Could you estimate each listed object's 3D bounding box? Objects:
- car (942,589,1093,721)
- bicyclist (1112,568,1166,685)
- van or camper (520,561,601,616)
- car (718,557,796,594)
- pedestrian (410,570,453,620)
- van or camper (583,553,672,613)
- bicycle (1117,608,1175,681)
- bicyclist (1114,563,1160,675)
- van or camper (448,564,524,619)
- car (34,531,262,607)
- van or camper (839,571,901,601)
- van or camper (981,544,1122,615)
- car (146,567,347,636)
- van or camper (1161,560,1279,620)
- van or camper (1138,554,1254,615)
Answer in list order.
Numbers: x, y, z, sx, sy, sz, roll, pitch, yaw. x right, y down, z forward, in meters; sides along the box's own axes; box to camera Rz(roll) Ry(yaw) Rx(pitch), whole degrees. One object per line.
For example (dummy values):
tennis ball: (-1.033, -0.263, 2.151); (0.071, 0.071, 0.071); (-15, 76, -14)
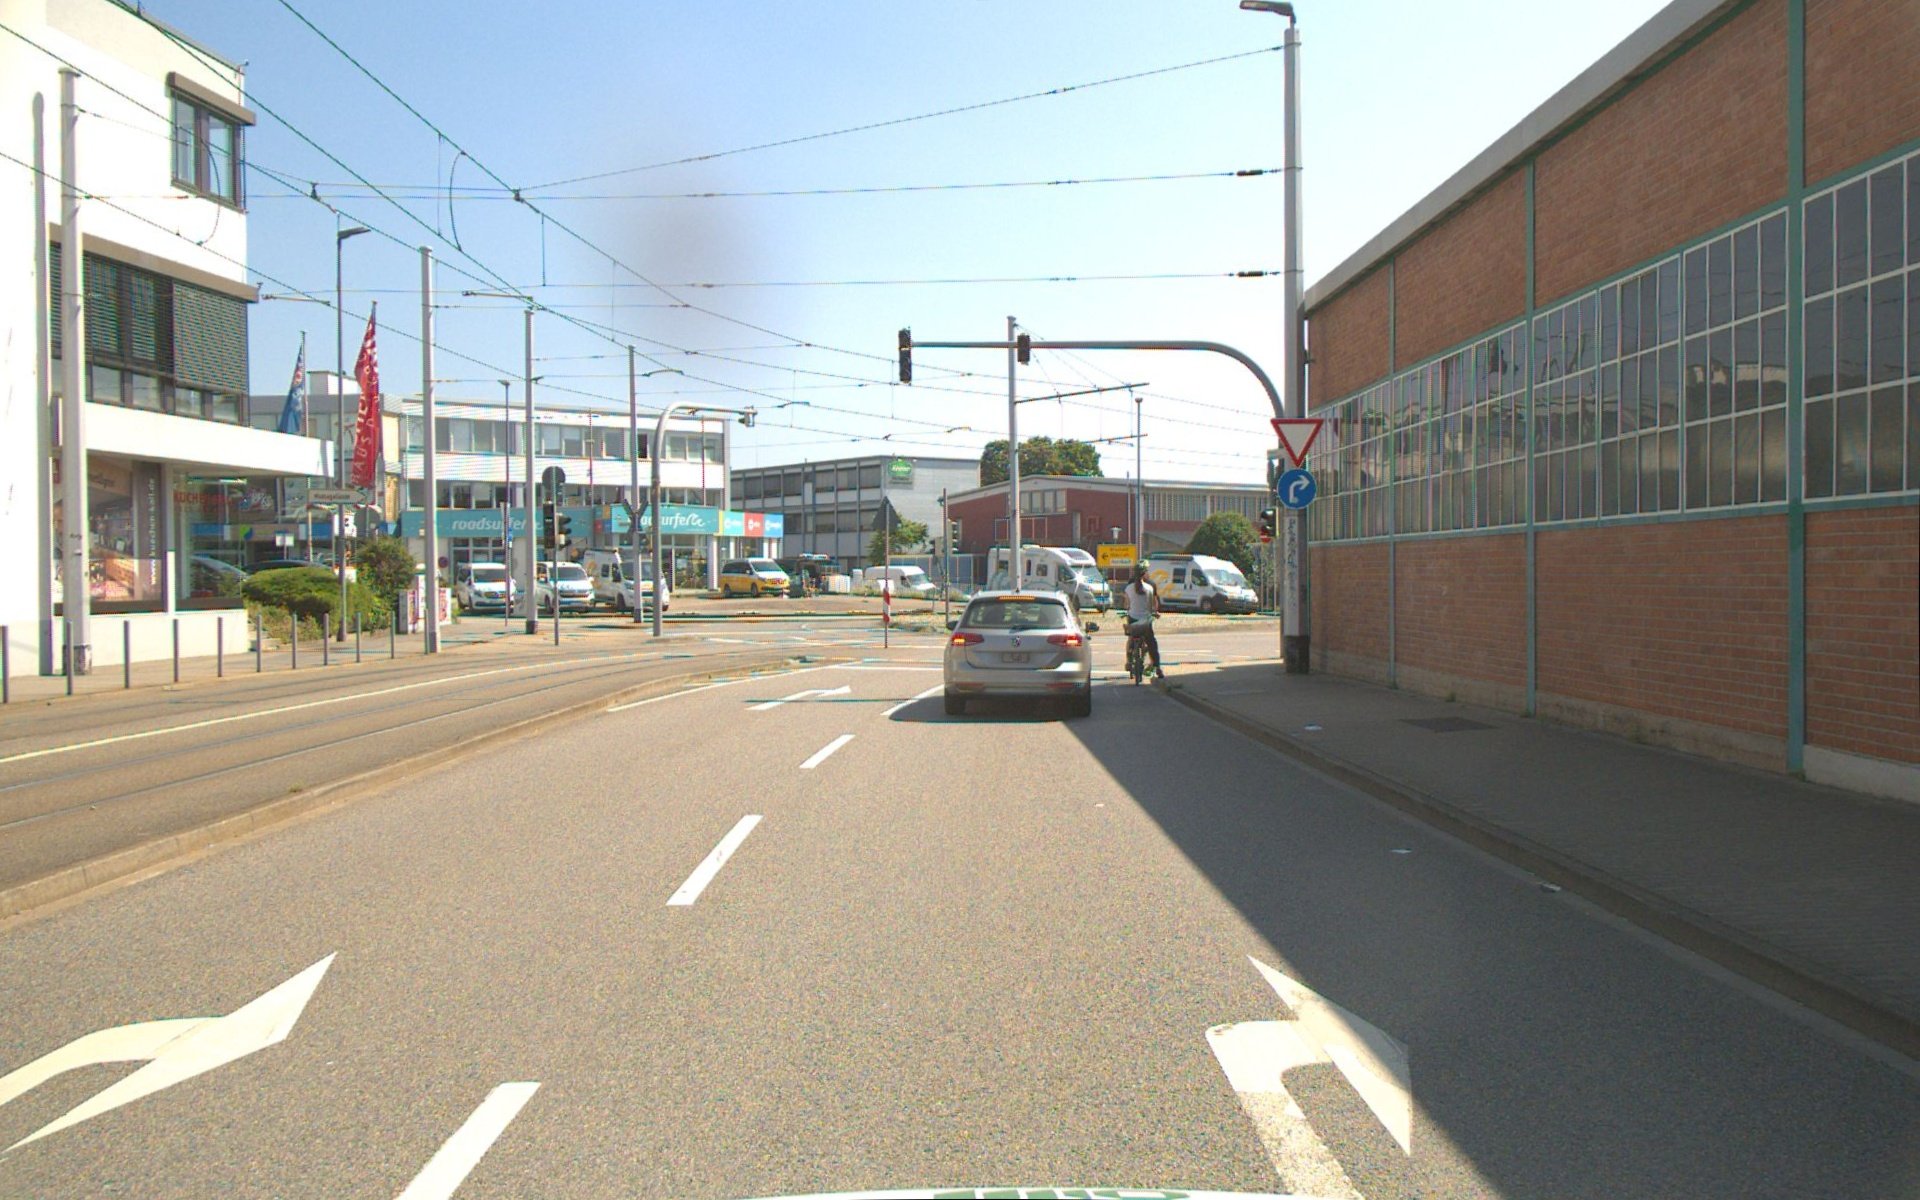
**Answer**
car: (0.753, 0.620, 20.834); (1.710, 1.484, 4.002); (0, 0, 3)
bicyclist: (2.744, 0.388, 25.408); (0.769, 1.752, 1.147); (0, 0, 3)
van or camper: (-16.705, -0.519, 68.963); (1.972, 2.048, 4.961); (-2, 3, -30)
car: (-10.349, -1.222, 84.085); (1.921, 1.790, 5.063); (-1, 0, -33)
pedestrian: (-15.756, -0.148, 49.371); (1.109, 1.480, 0.836); (0, 0, -10)
van or camper: (-14.195, -0.774, 70.376); (2.010, 2.336, 5.756); (-1, 3, -30)
bicycle: (2.846, 0.660, 25.465); (0.777, 1.039, 2.152); (0, 1, 4)
bicyclist: (2.962, 0.311, 27.725); (0.693, 1.842, 0.983); (0, 0, 2)
van or camper: (-19.671, -0.410, 68.487); (1.973, 2.048, 4.716); (-2, 3, -30)
car: (-17.415, -0.651, 35.590); (3.904, 1.590, 2.001); (0, 0, 3)
van or camper: (-6.030, -0.939, 110.469); (3.932, 1.982, 1.986); (0, 1, 44)
van or camper: (4.116, -1.016, 75.982); (2.334, 2.981, 6.880); (-2, 4, -42)
car: (-16.996, 0.016, 39.532); (3.904, 1.545, 2.001); (0, 3, 3)
van or camper: (12.632, -0.537, 80.729); (2.264, 2.656, 5.819); (-2, 3, -36)
van or camper: (10.923, -0.766, 76.860); (2.264, 2.482, 5.319); (-2, 5, -36)
